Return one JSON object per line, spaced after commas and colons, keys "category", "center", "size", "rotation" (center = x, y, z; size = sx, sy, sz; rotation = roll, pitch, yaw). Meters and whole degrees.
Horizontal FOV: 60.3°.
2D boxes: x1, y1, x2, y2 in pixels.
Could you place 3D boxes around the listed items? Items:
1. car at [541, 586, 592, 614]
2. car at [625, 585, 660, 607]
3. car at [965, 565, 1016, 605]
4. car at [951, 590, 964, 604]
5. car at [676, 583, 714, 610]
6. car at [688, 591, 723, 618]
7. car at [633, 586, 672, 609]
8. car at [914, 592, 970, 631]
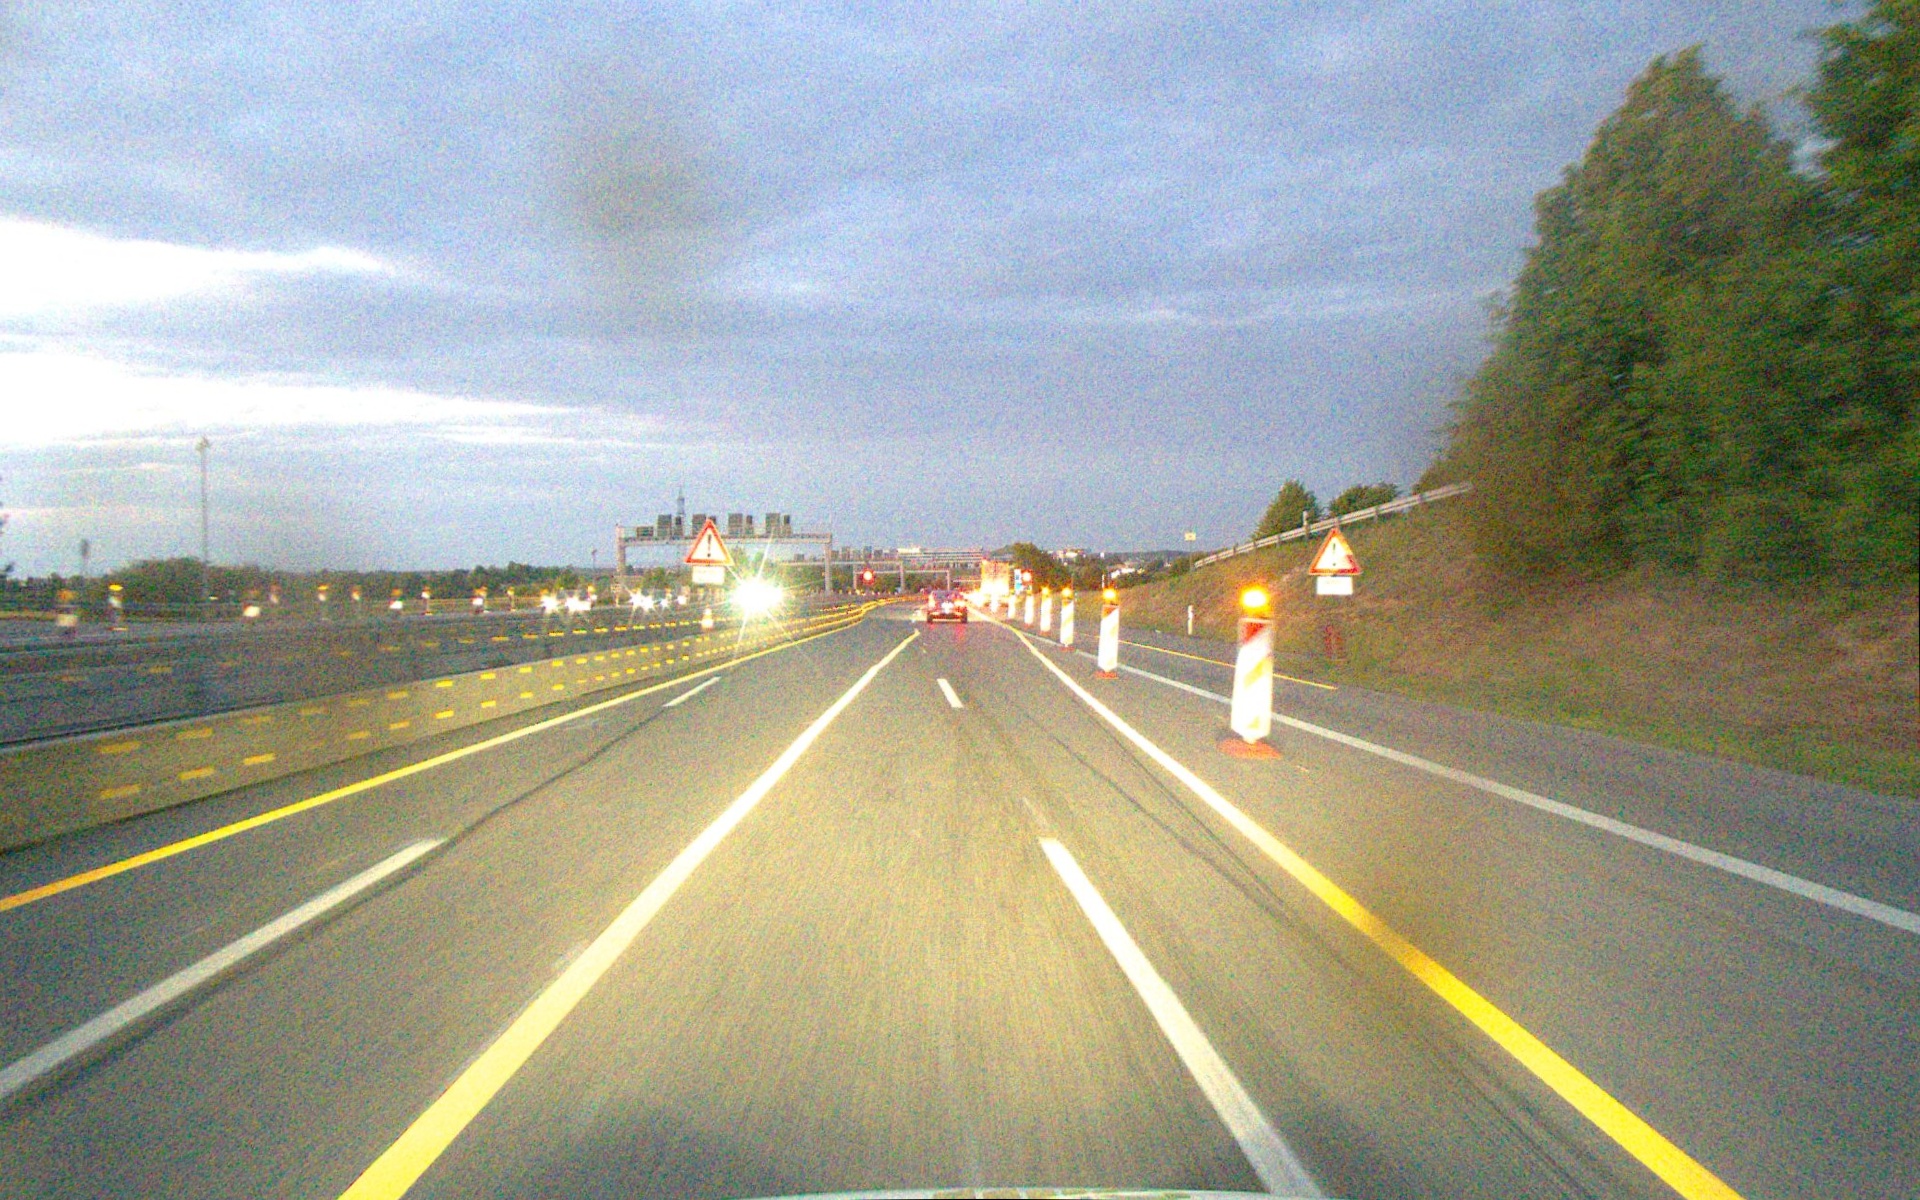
{"category": "car", "center": [-22.210, 0.019, 93.511], "size": [1.953, 1.489, 4.134], "rotation": [1, 0, -1]}
{"category": "car", "center": [-23.585, -0.279, 122.894], "size": [1.727, 1.575, 4.424], "rotation": [1, 0, -1]}
{"category": "car", "center": [2.754, -1.377, 153.538], "size": [3.537, 3.455, 8.001], "rotation": [1, 0, -7]}
{"category": "car", "center": [-0.407, -0.439, 252.623], "size": [1.953, 2.049, 3.999], "rotation": [1, 0, -1]}
{"category": "car", "center": [-18.243, -0.238, 113.942], "size": [1.953, 1.744, 3.999], "rotation": [1, 0, -1]}
{"category": "car", "center": [-18.576, 0.303, 120.842], "size": [1.953, 1.860, 3.999], "rotation": [1, 0, -1]}
{"category": "car", "center": [-20.583, -0.162, 110.916], "size": [1.727, 1.489, 4.689], "rotation": [1, 0, -1]}
{"category": "car", "center": [-0.850, 0.506, 75.237], "size": [2.221, 1.649, 3.996], "rotation": [1, 0, -5]}
